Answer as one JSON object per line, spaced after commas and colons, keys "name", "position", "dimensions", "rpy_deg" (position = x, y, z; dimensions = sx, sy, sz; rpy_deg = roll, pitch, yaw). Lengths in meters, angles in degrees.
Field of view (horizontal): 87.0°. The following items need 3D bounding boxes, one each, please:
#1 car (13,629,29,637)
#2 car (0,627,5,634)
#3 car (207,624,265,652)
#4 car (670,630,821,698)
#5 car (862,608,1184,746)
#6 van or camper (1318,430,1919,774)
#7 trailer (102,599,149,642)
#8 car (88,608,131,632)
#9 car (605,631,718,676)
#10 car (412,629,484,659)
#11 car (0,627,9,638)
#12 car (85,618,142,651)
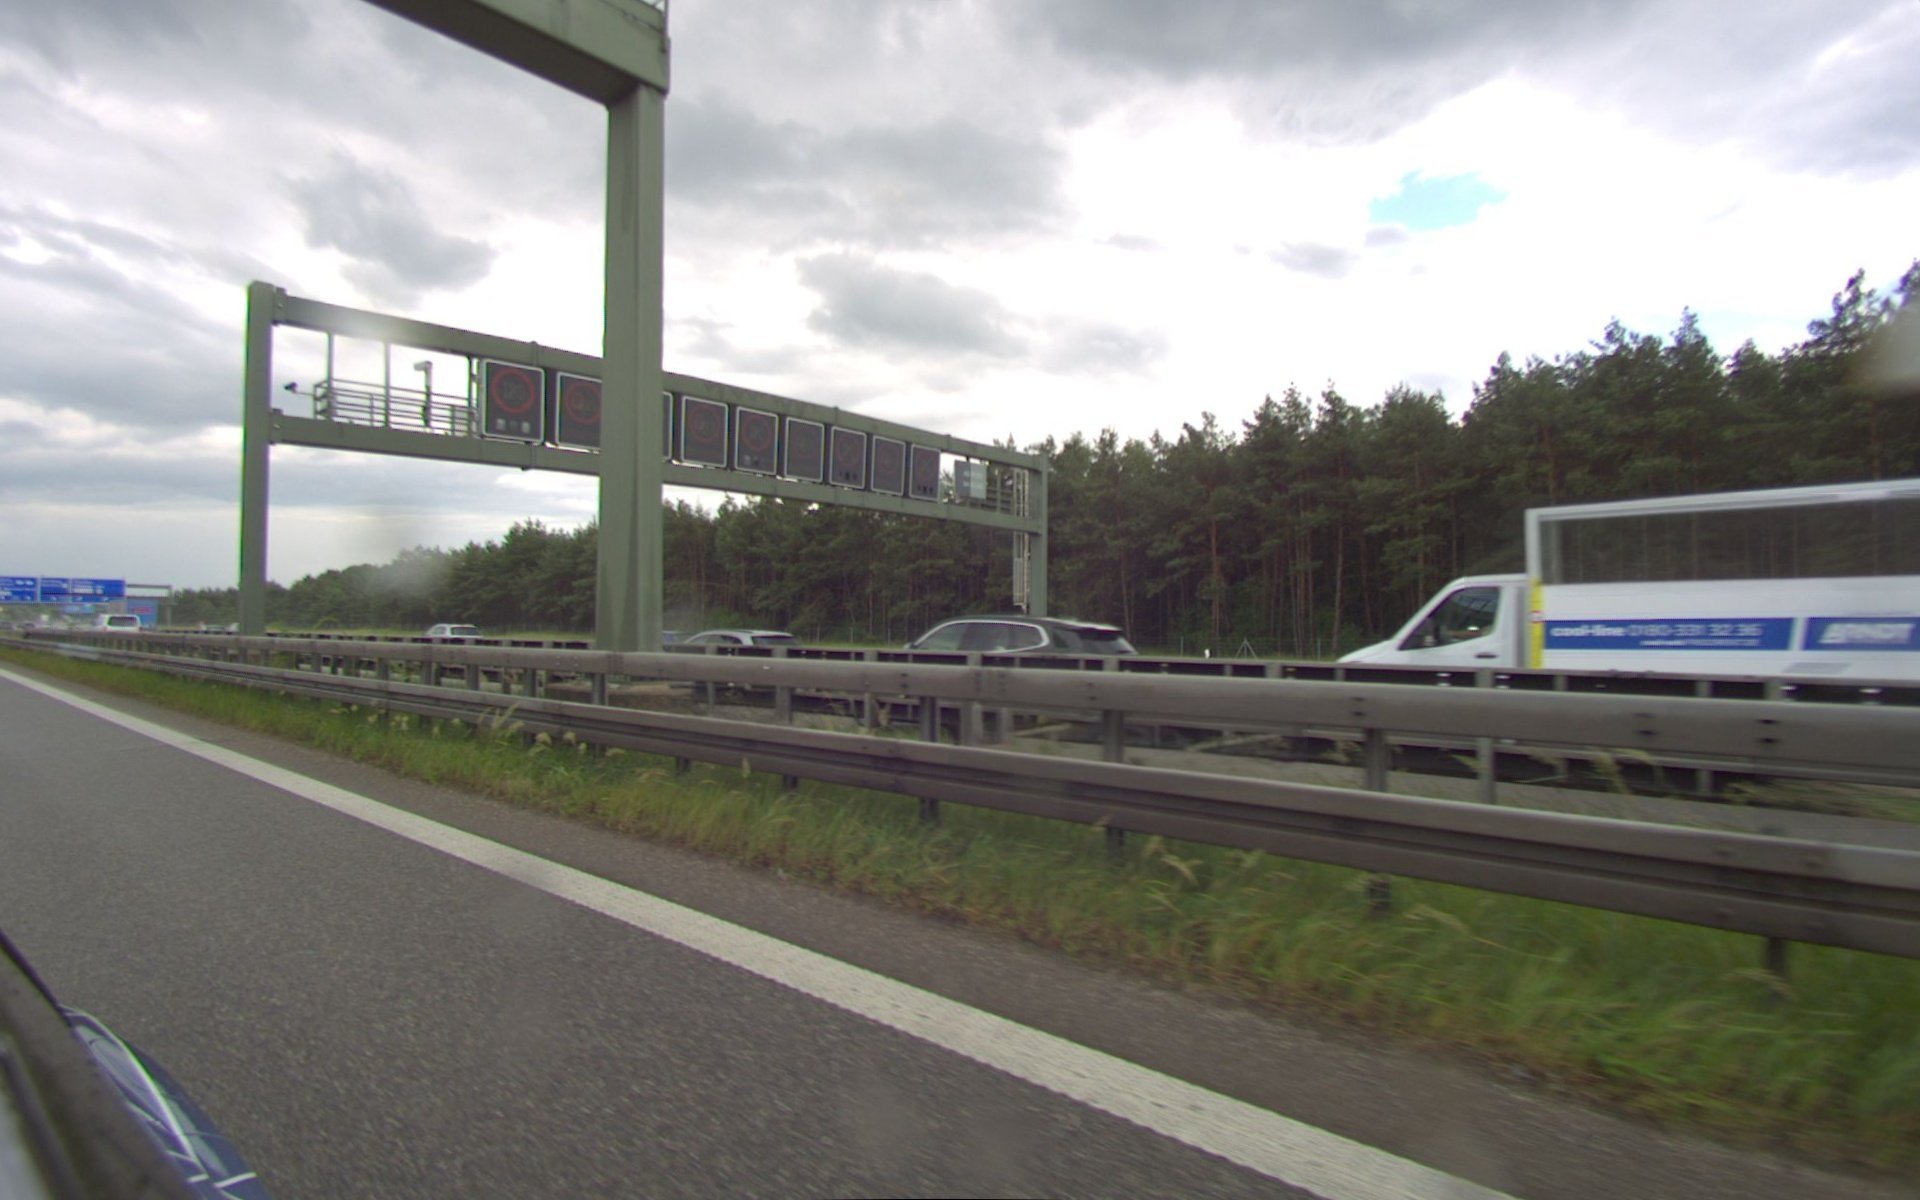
{"name": "car", "position": [-177.308, 6.253, 191.032], "dimensions": [4.652, 1.467, 1.895], "rpy_deg": [-2, -2, 43]}
{"name": "car", "position": [-182.008, 5.789, 191.214], "dimensions": [4.652, 1.375, 1.895], "rpy_deg": [-2, -2, 43]}
{"name": "car", "position": [-39.400, 2.062, 55.049], "dimensions": [4.561, 1.471, 1.654], "rpy_deg": [-1, -2, 42]}
{"name": "car", "position": [-4.886, 1.385, 22.835], "dimensions": [3.703, 1.386, 1.479], "rpy_deg": [-1, -2, 43]}
{"name": "car", "position": [0.707, 0.900, 13.129], "dimensions": [3.998, 1.526, 1.676], "rpy_deg": [-1, -2, 41]}
{"name": "van or camper", "position": [8.169, 0.079, 11.392], "dimensions": [7.544, 3.136, 2.275], "rpy_deg": [-2, -2, 44]}
{"name": "trailer", "position": [-88.990, 2.185, 107.807], "dimensions": [14.627, 4.273, 2.075], "rpy_deg": [-1, 0, 43]}
{"name": "car", "position": [-75.041, 1.759, 89.261], "dimensions": [6.741, 2.029, 2.258], "rpy_deg": [-2, 0, 45]}
{"name": "car", "position": [-9.873, 1.724, 33.318], "dimensions": [3.998, 1.386, 1.725], "rpy_deg": [-1, -2, 41]}
{"name": "car", "position": [-22.982, 1.939, 45.406], "dimensions": [3.840, 1.267, 1.608], "rpy_deg": [-1, -1, 42]}
{"name": "car", "position": [-152.405, 5.120, 160.500], "dimensions": [4.470, 1.674, 1.840], "rpy_deg": [-1, -3, 42]}
{"name": "car", "position": [-50.620, 2.072, 60.462], "dimensions": [4.895, 1.882, 1.878], "rpy_deg": [-2, -3, 42]}
